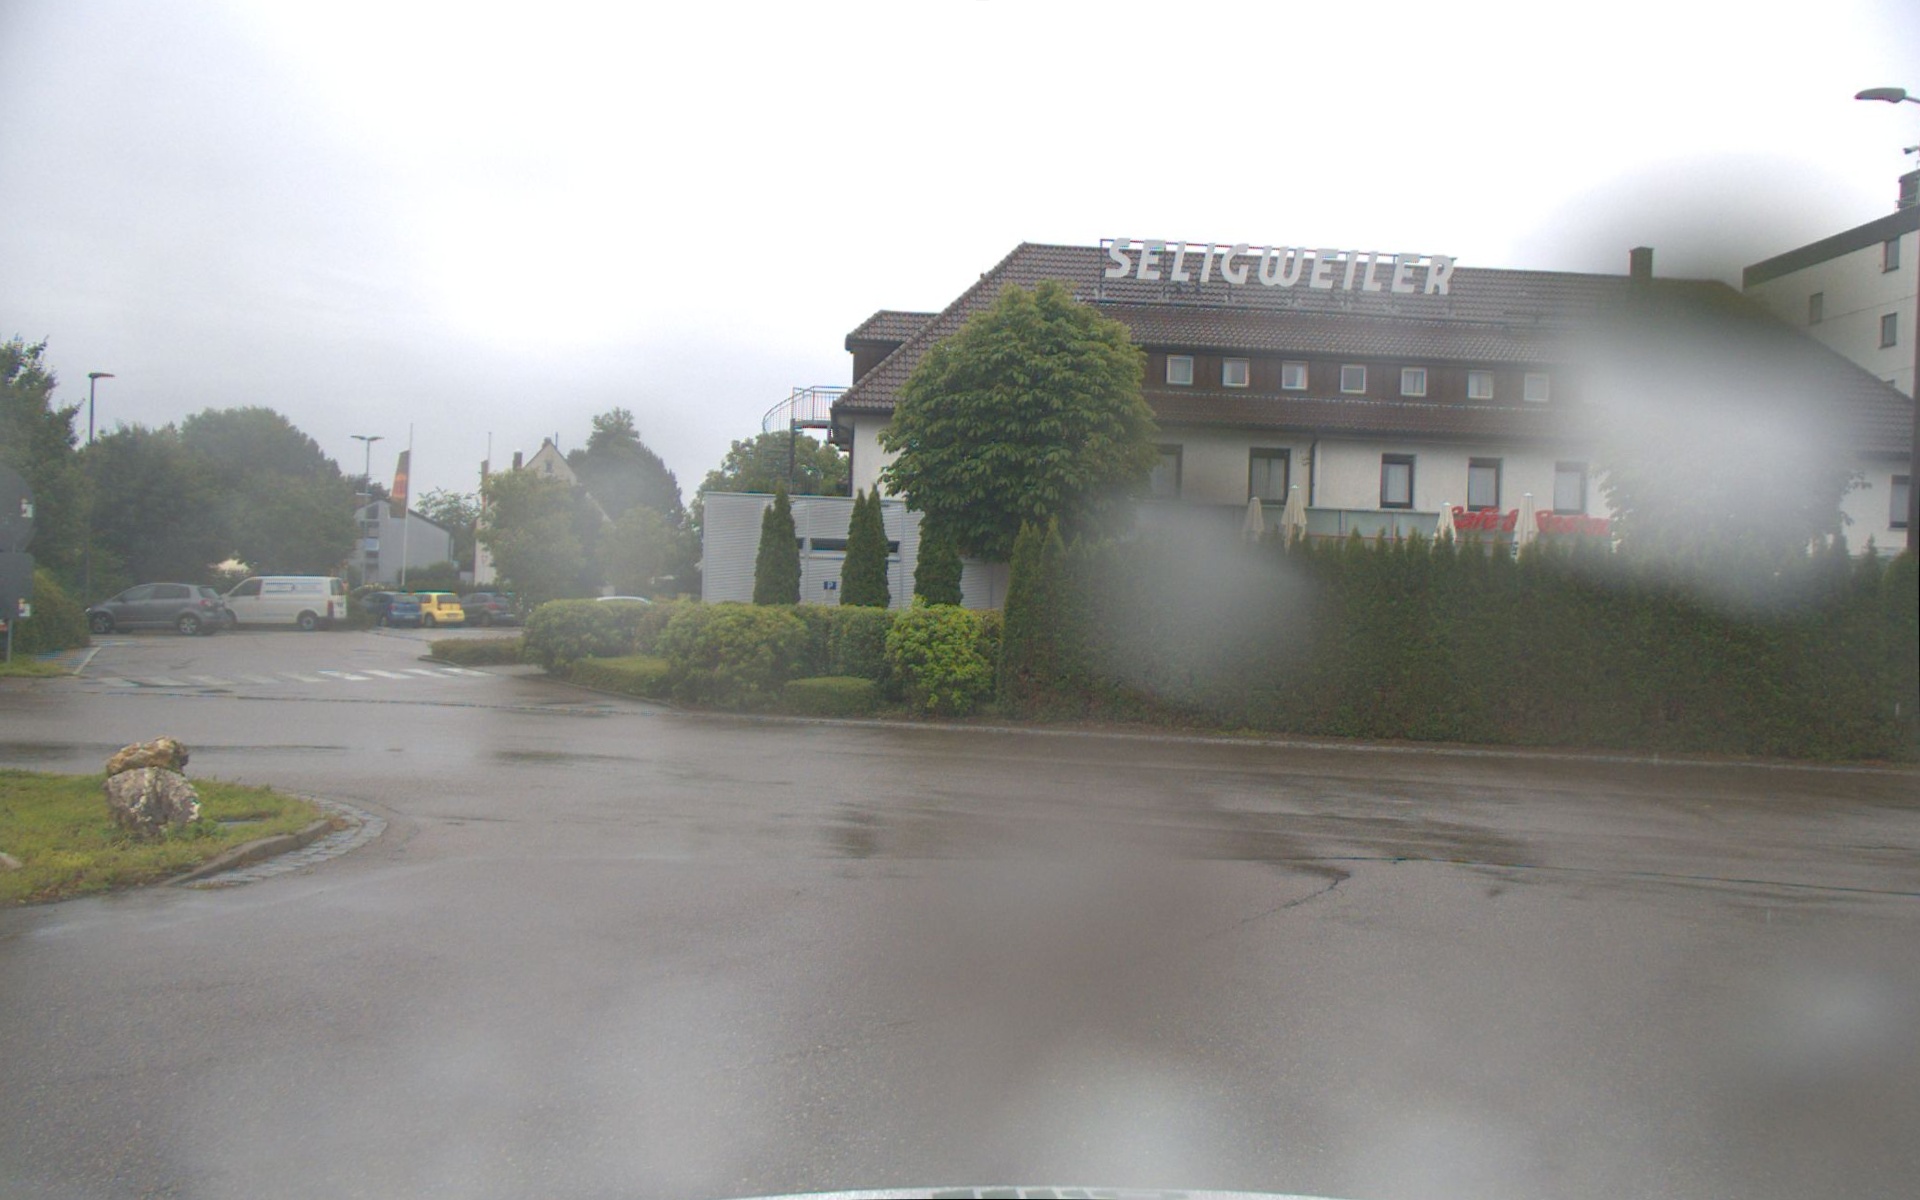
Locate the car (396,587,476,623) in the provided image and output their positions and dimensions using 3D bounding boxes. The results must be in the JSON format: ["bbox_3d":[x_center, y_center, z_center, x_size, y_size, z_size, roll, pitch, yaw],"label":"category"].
[{"bbox_3d":[-22.500,0.205,70.984,3.611,1.483,1.578,1,0,40],"label":"car"}]

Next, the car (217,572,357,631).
[{"bbox_3d":[-24.725,0.061,60.881,4.432,2.069,1.643,1,0,-5],"label":"car"}]

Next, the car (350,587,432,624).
[{"bbox_3d":[-23.539,0.204,68.381,3.611,1.483,1.548,1,0,40],"label":"car"}]

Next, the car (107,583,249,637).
[{"bbox_3d":[-24.039,0.300,50.923,3.659,1.578,1.449,1,0,-5],"label":"car"}]

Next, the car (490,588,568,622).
[{"bbox_3d":[-19.367,0.218,74.311,3.611,1.483,1.578,1,0,40],"label":"car"}]

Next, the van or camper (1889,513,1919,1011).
[{"bbox_3d":[6.501,0.715,6.265,5.091,1.979,2.187,2,-2,-13],"label":"van or camper"}]

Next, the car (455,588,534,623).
[{"bbox_3d":[-20.504,0.215,72.817,3.611,1.483,1.578,1,0,40],"label":"car"}]

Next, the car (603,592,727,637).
[{"bbox_3d":[-10.275,0.491,57.808,4.094,1.524,1.716,0,0,-6],"label":"car"}]
